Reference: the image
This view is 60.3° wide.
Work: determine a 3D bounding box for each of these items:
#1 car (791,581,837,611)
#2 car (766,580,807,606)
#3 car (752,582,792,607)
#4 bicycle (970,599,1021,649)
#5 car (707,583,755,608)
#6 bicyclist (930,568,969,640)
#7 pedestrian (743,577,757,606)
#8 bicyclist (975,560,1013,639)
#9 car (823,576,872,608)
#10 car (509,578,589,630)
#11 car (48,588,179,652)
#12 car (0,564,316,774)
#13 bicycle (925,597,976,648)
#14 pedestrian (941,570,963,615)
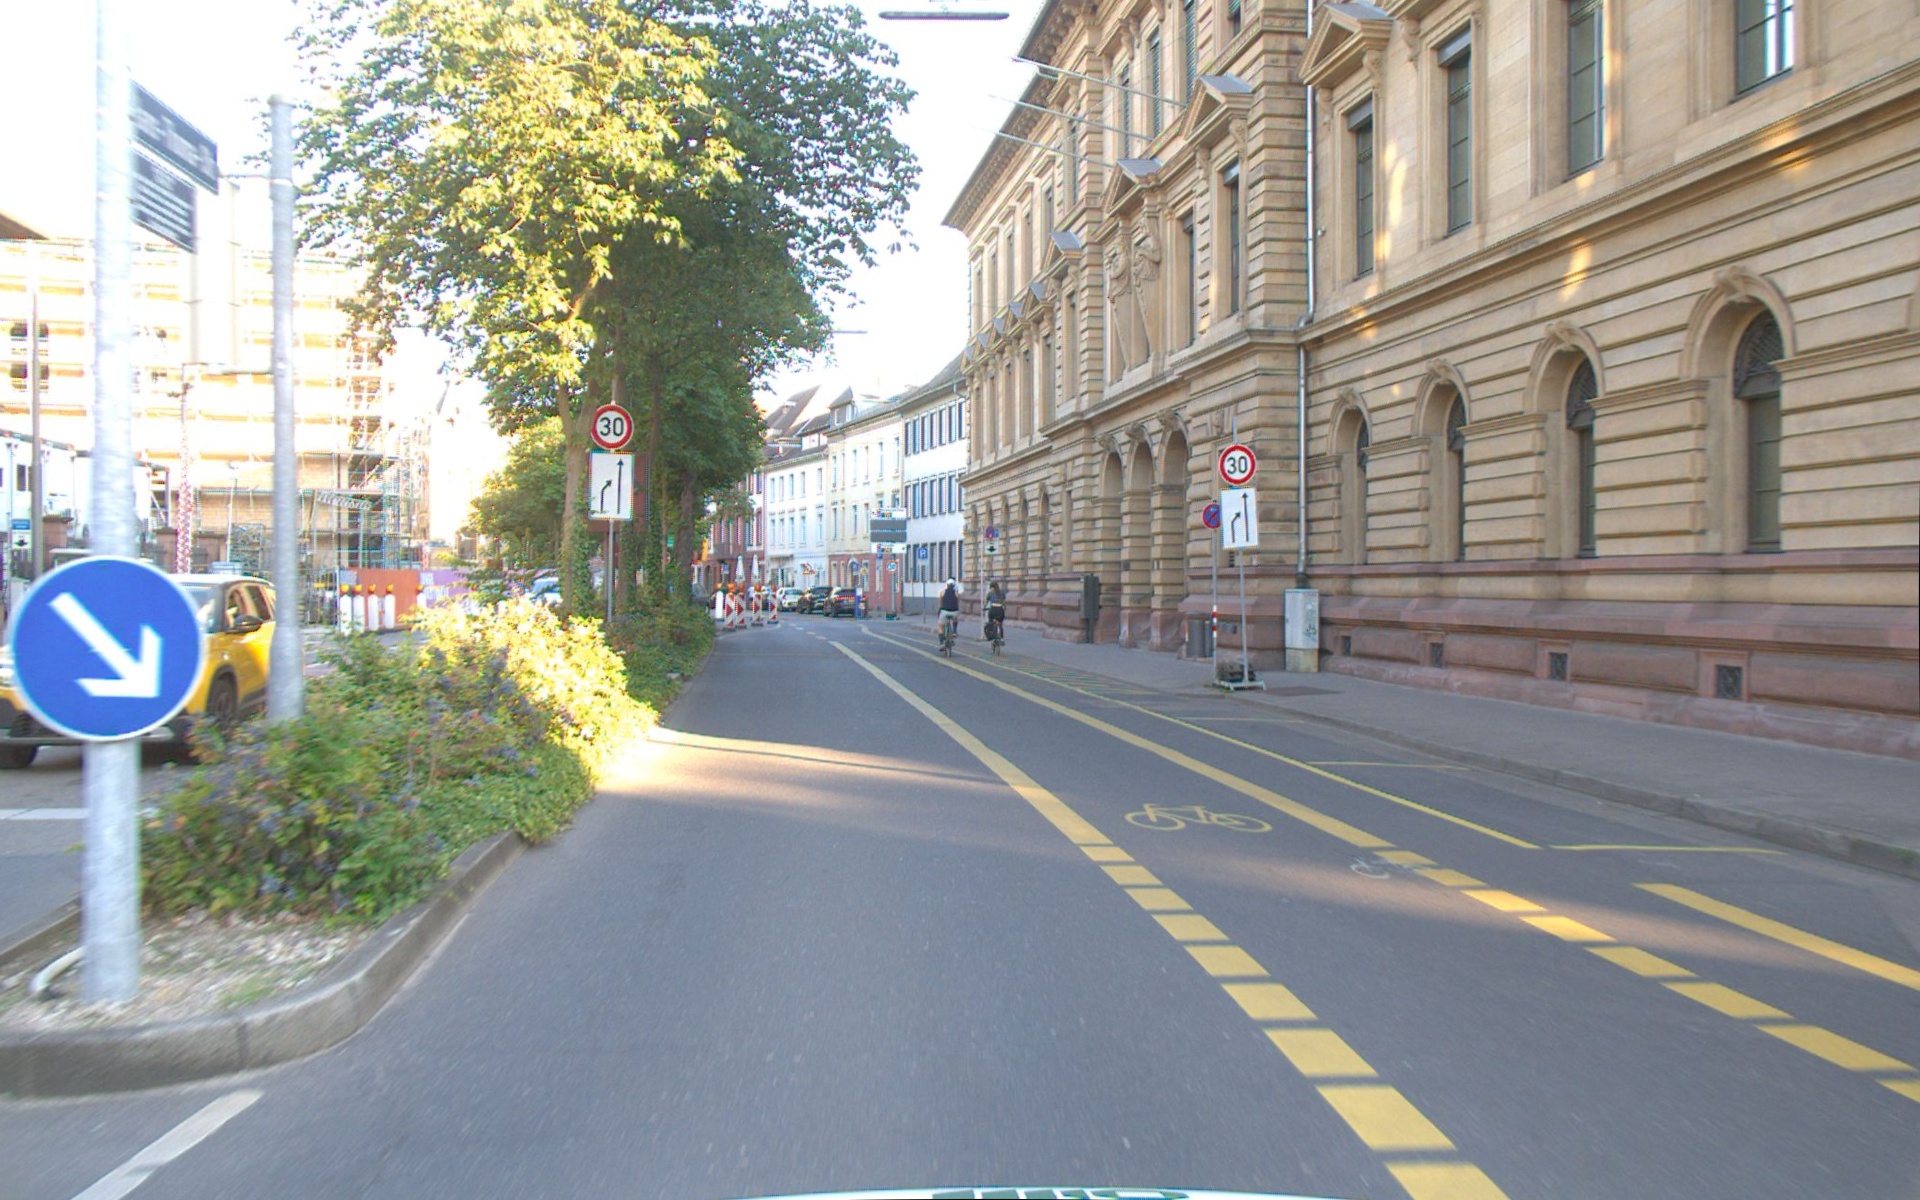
[{"bbox_3d":[-8.655,-0.226,97.771,1.785,1.713,3.979,0,0,-19],"label":"car"},{"bbox_3d":[-11.099,-0.465,105.692,1.785,1.587,3.842,0,0,-20],"label":"car"},{"bbox_3d":[-12.513,-0.388,109.875,1.785,1.587,3.842,0,0,-20],"label":"car"},{"bbox_3d":[0.814,0.542,38.594,0.641,1.089,2.251,2,0,-12],"label":"bicycle"},{"bbox_3d":[-14.877,-0.275,107.265,1.793,1.587,3.826,0,0,-30],"label":"car"},{"bbox_3d":[-0.237,0.086,37.365,0.658,1.593,0.696,2,0,-15],"label":"bicyclist"},{"bbox_3d":[-13.924,-0.562,109.584,0.814,1.876,0.957,1,1,-4],"label":"pedestrian"},{"bbox_3d":[0.791,-0.020,38.766,0.638,1.790,0.862,2,0,-13],"label":"bicyclist"},{"bbox_3d":[-6.152,-0.435,90.023,1.784,1.712,3.899,0,0,-18],"label":"car"},{"bbox_3d":[-14.187,0.110,57.287,1.806,1.703,4.554,-1,1,-3],"label":"car"},{"bbox_3d":[-19.734,0.429,38.725,1.649,1.374,3.877,-1,1,-11],"label":"car"},{"bbox_3d":[-7.019,0.489,14.547,1.812,1.574,4.107,0,1,-11],"label":"car"},{"bbox_3d":[-0.226,0.504,37.285,0.658,1.089,1.893,2,0,-15],"label":"bicycle"},{"bbox_3d":[-0.328,-0.316,67.268,0.800,1.796,1.037,1,1,-4],"label":"pedestrian"}]
